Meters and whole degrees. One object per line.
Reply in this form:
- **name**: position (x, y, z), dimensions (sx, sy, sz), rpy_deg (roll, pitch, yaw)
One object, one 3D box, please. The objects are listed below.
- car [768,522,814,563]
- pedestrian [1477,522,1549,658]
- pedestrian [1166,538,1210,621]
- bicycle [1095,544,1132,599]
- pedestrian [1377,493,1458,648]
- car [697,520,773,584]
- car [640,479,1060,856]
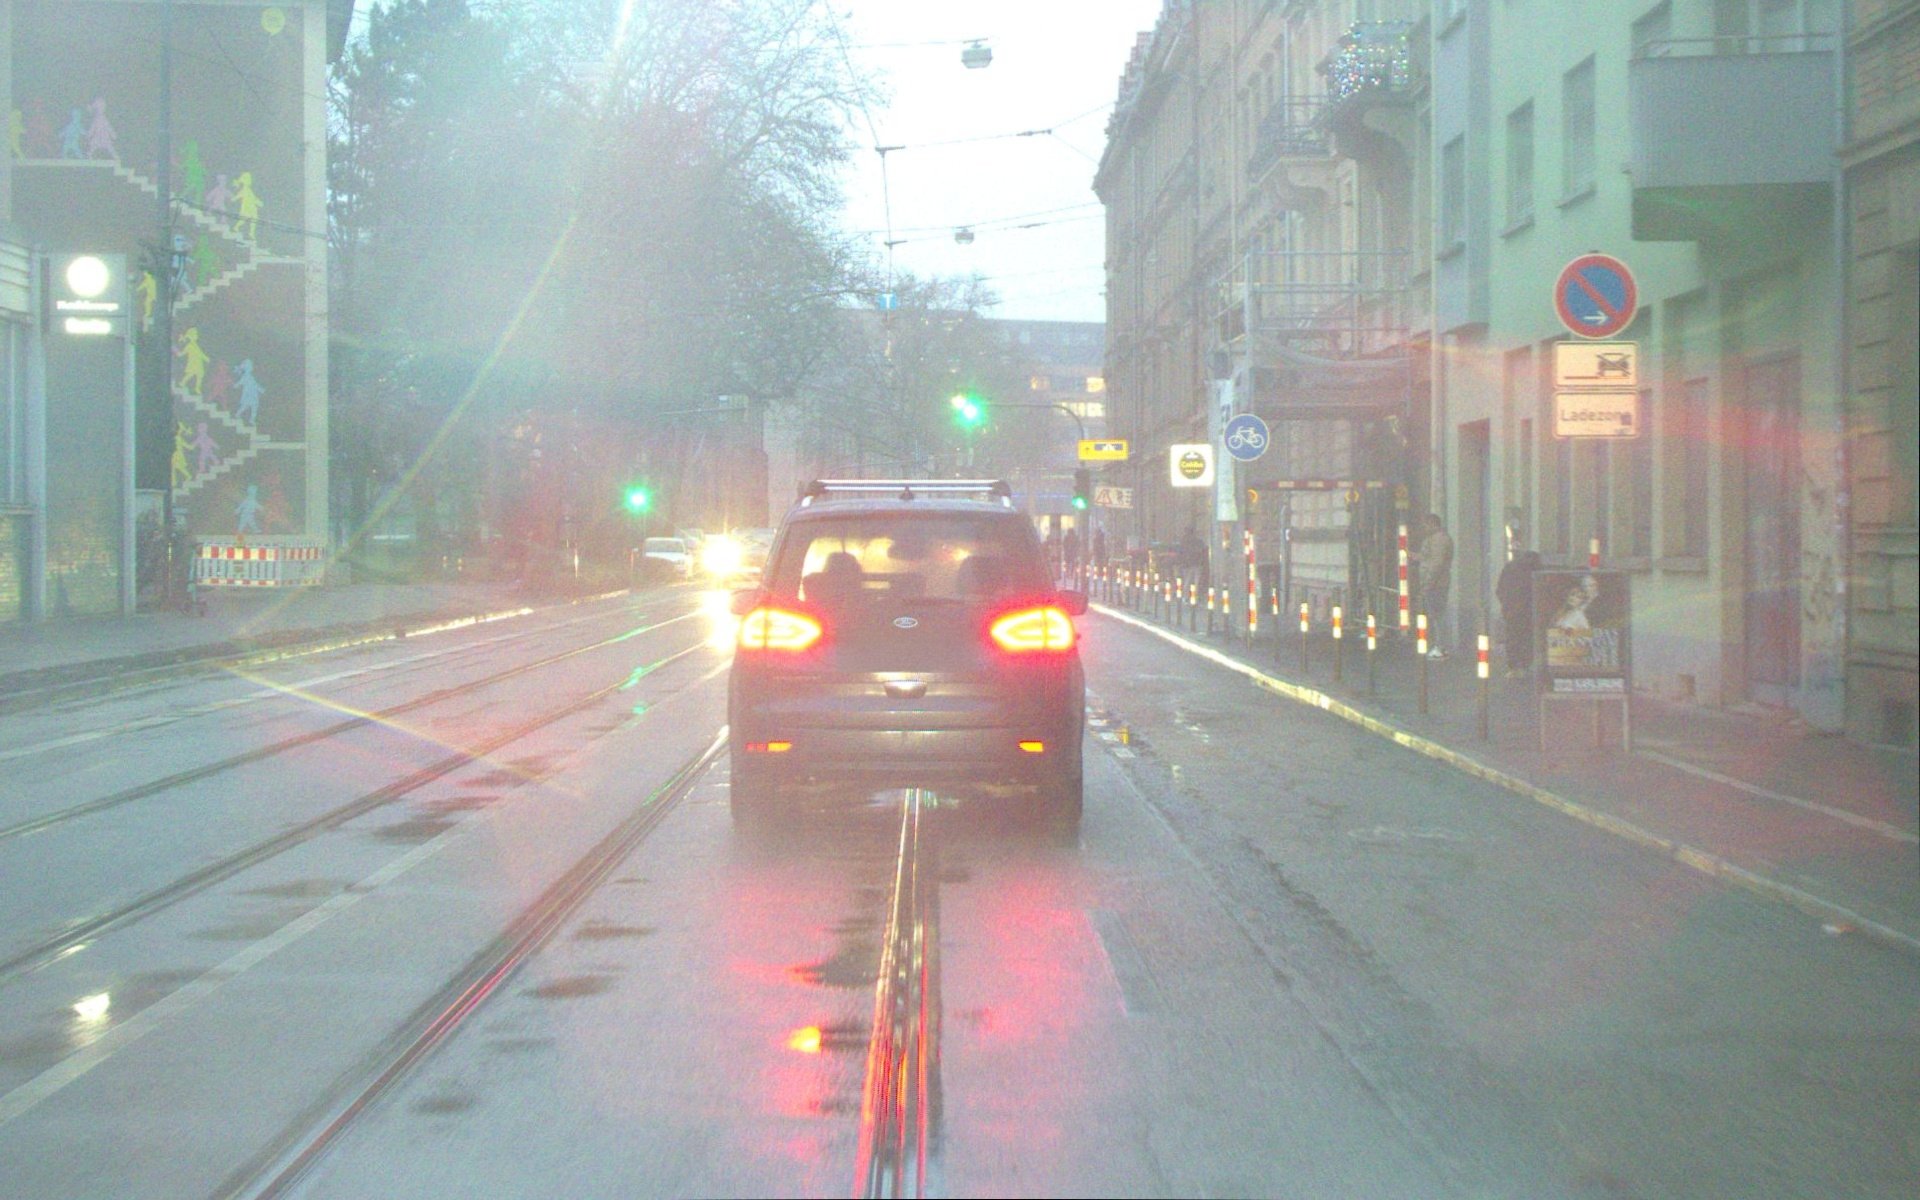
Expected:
- **car**: position (-6.262, -2.150, 127.756), dimensions (1.530, 1.476, 3.561), rpy_deg (0, 1, 0)
- **pedestrian**: position (5.637, -0.104, 35.077), dimensions (0.600, 1.372, 0.728), rpy_deg (0, 1, -1)
- **pedestrian**: position (4.721, -0.425, 71.138), dimensions (0.835, 1.695, 0.953), rpy_deg (0, 1, 8)
- **bicycle**: position (3.307, -0.618, 74.071), dimensions (0.684, 1.152, 2.188), rpy_deg (0, 1, 0)
- **pedestrian**: position (5.403, -0.350, 40.600), dimensions (0.598, 1.812, 0.776), rpy_deg (0, 1, -28)
- **car**: position (-6.253, -1.362, 95.972), dimensions (1.875, 1.704, 4.761), rpy_deg (-1, 1, -1)
- **car**: position (-0.481, 0.294, 18.734), dimensions (1.994, 1.835, 4.000), rpy_deg (0, 1, 2)
